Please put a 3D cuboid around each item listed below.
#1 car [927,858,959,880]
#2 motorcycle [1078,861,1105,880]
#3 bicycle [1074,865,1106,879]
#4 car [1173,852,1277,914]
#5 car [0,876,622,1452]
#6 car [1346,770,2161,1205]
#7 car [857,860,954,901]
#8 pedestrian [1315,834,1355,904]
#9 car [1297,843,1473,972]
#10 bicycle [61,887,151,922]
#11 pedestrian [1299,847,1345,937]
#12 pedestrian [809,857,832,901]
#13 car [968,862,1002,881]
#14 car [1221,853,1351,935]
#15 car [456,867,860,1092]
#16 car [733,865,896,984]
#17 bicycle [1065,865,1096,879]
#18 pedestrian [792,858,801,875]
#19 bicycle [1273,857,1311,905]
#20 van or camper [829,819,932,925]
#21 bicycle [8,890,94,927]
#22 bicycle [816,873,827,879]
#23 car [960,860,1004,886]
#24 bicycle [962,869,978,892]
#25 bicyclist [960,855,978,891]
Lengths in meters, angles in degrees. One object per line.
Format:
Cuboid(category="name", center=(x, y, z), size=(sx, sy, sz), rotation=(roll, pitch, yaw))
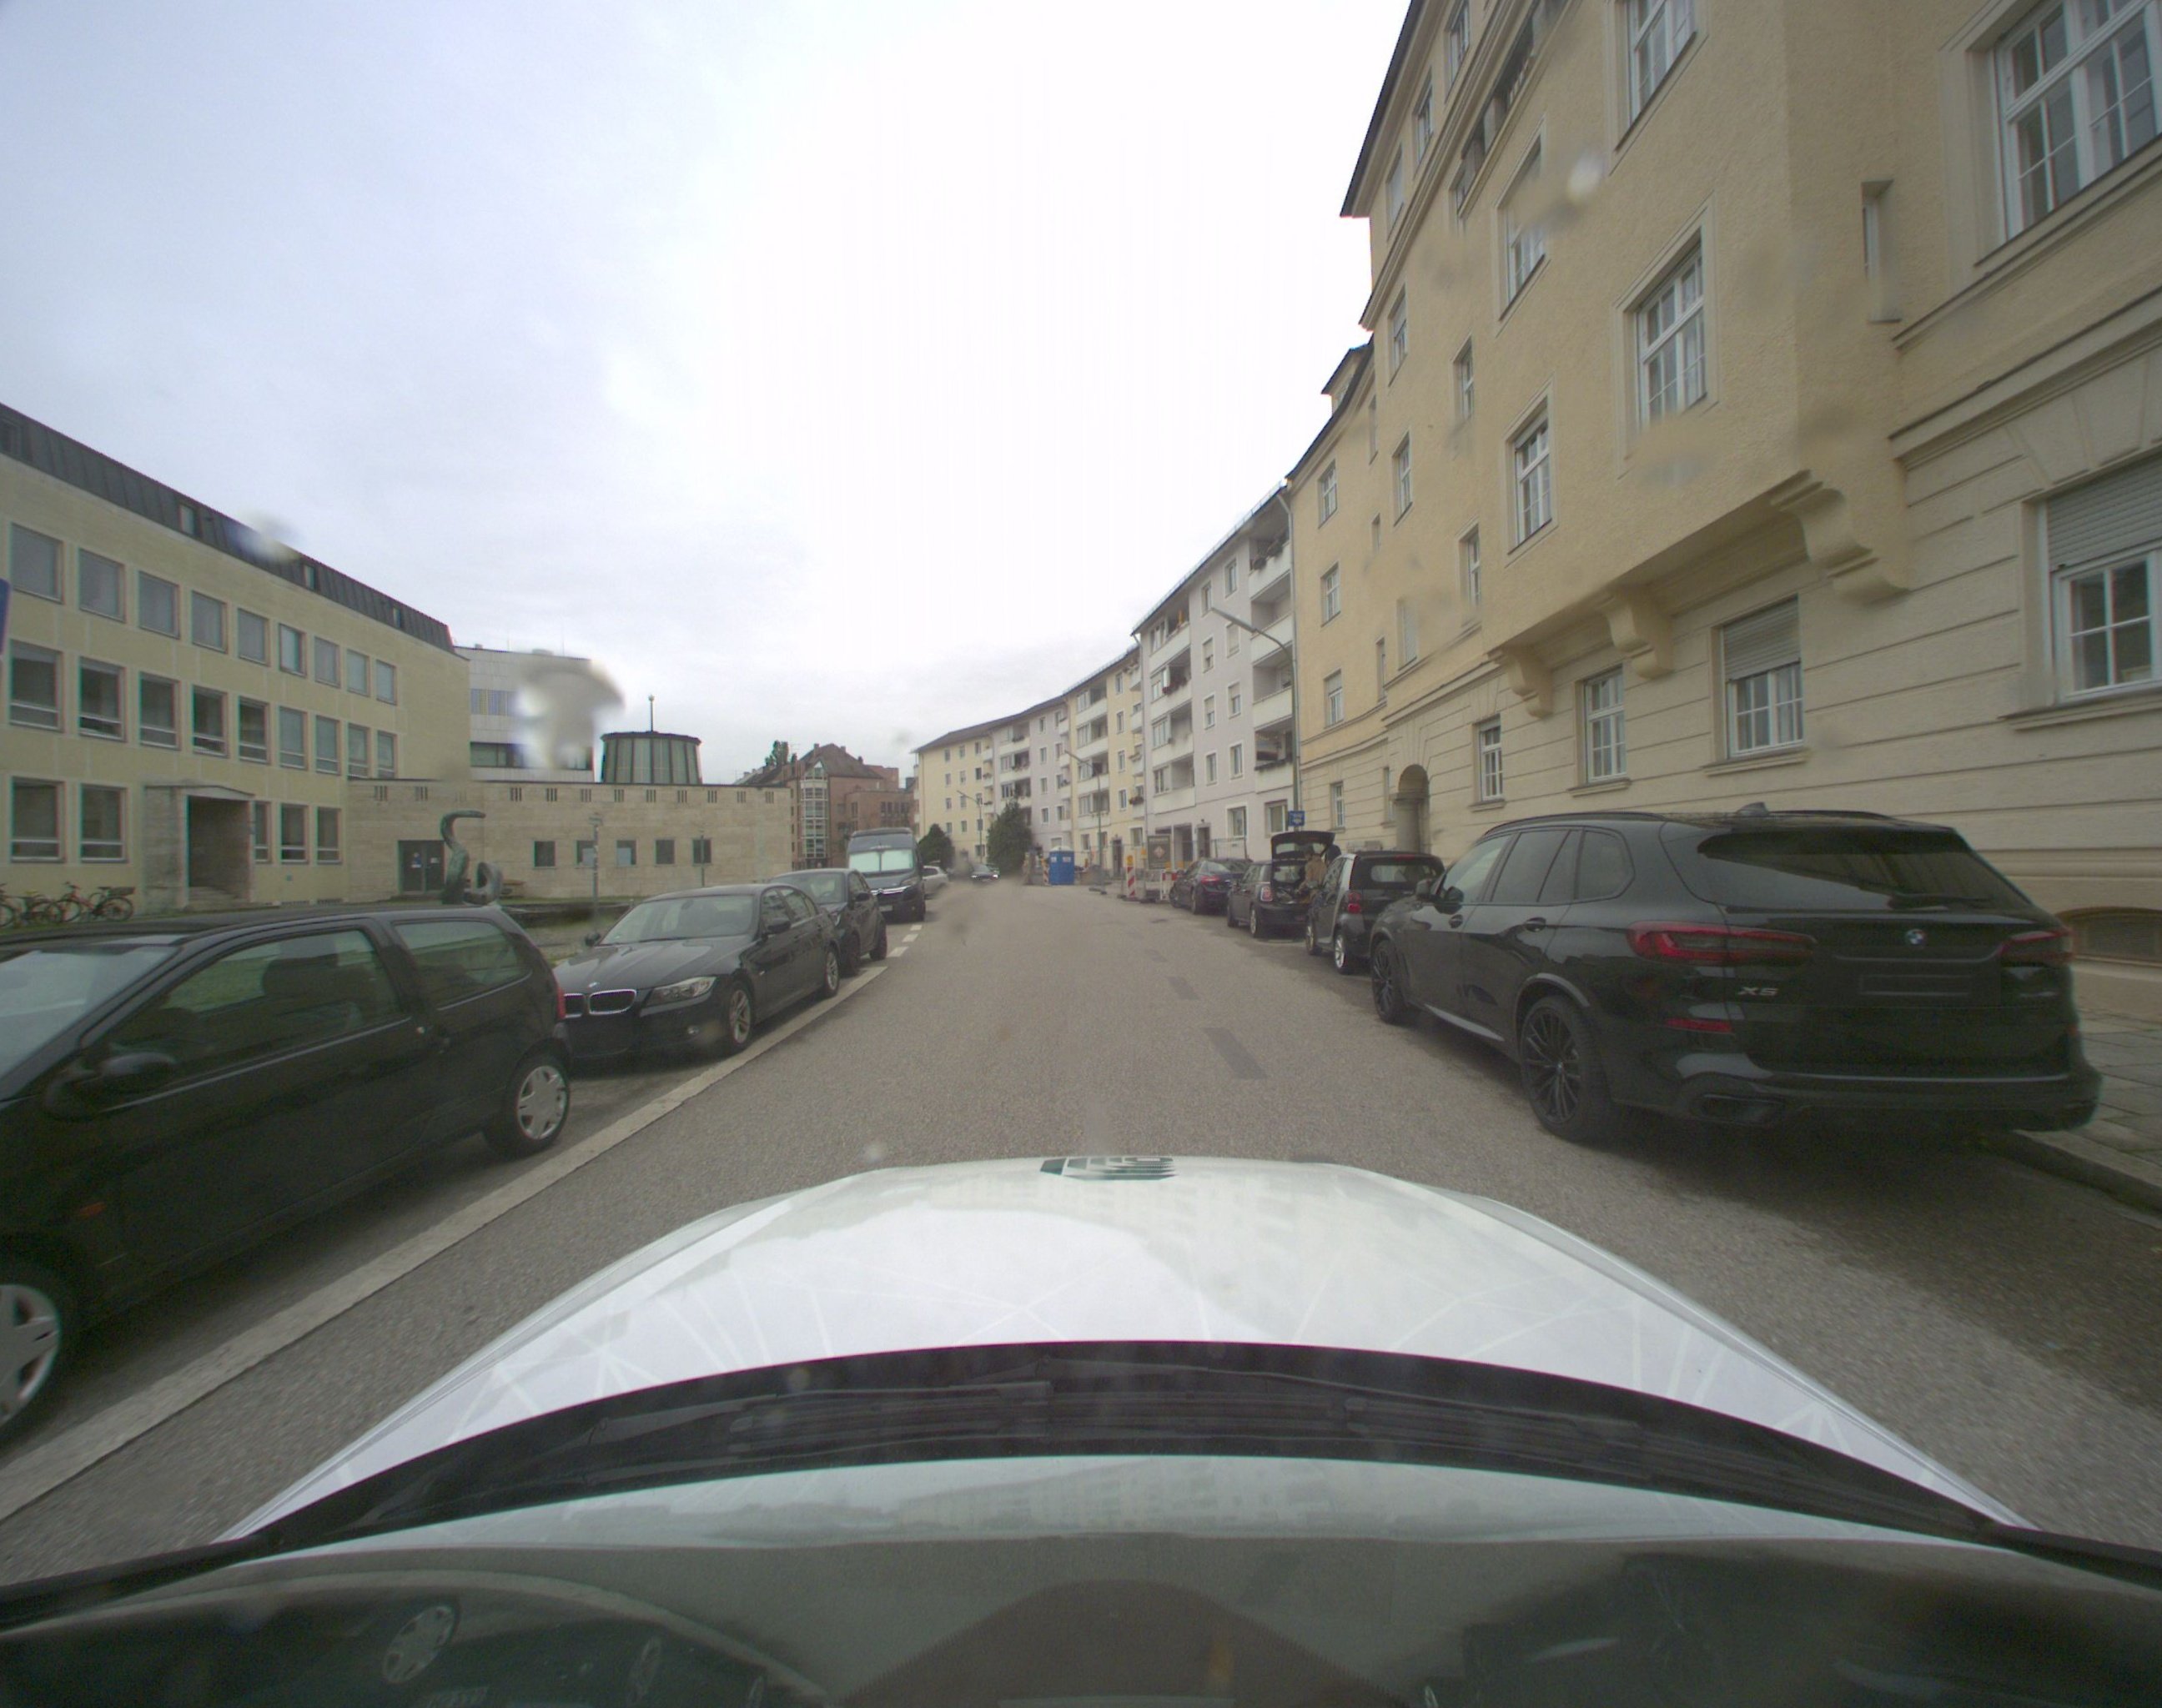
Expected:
Cuboid(category="car", center=(-13.082, 1.425, 76.943), size=(1.792, 1.976, 3.684), rotation=(-3, 0, -29))
Cuboid(category="motorcycle", center=(0.673, 1.095, 54.844), size=(0.935, 1.221, 2.489), rotation=(-1, -1, -21))
Cuboid(category="bicycle", center=(0.709, 1.382, 62.873), size=(2.241, 1.069, 0.913), rotation=(-1, -1, -22))
Cuboid(category="car", center=(3.810, 0.709, 22.396), size=(1.903, 1.477, 4.944), rotation=(-1, 0, -1))
Cuboid(category="car", center=(-3.790, 0.934, 3.384), size=(1.626, 1.494, 3.603), rotation=(-4, 0, 0))
Cuboid(category="car", center=(3.669, 0.539, 5.798), size=(2.161, 1.739, 5.028), rotation=(-1, 0, 3))
Cuboid(category="car", center=(-7.680, 1.163, 35.820), size=(1.693, 1.507, 3.833), rotation=(-4, 0, 43))
Cuboid(category="pedestrian", center=(6.385, 0.377, 20.513), size=(0.615, 1.690, 0.920), rotation=(-5, -1, 3))
Cuboid(category="car", center=(4.087, 0.652, 11.395), size=(1.507, 1.555, 3.022), rotation=(-1, 0, 4))
Cuboid(category="bicycle", center=(-27.882, 1.429, 23.310), size=(1.709, 0.945, 0.412), rotation=(0, -1, -14))
Cuboid(category="pedestrian", center=(4.206, 0.654, 14.255), size=(0.626, 1.528, 0.578), rotation=(-1, -1, 1))
Cuboid(category="pedestrian", center=(-11.286, 1.063, 35.336), size=(0.846, 1.866, 0.708), rotation=(-1, -1, -26))
Cuboid(category="car", center=(-8.166, 1.478, 68.993), size=(1.838, 1.574, 3.969), rotation=(-1, -1, -23))
Cuboid(category="car", center=(3.880, 0.698, 16.015), size=(1.625, 1.417, 3.679), rotation=(-1, 0, 0))
Cuboid(category="car", center=(-3.702, 0.953, 8.213), size=(1.769, 1.465, 4.463), rotation=(-4, 0, -2))
Cuboid(category="car", center=(-3.893, 0.961, 12.366), size=(1.515, 1.465, 2.884), rotation=(-4, 0, -2))
Cuboid(category="bicycle", center=(-0.046, 1.400, 64.204), size=(2.241, 1.069, 0.913), rotation=(-1, -1, -22))
Cuboid(category="pedestrian", center=(-27.607, 1.248, 78.902), size=(0.763, 1.630, 0.915), rotation=(0, 0, -16))
Cuboid(category="bicycle", center=(5.785, 0.721, 22.401), size=(0.634, 1.258, 1.671), rotation=(-1, -1, 2))
Cuboid(category="van or camper", center=(-5.514, 0.430, 23.227), size=(2.296, 2.581, 6.067), rotation=(-1, 0, -9))
Cuboid(category="bicycle", center=(-27.685, 1.469, 21.903), size=(1.473, 0.945, 0.412), rotation=(0, -1, -14))
Cuboid(category="bicycle", center=(-39.291, 3.317, 123.327), size=(1.110, 0.854, 1.707), rotation=(0, -1, -39))
Cuboid(category="car", center=(-6.088, 1.155, 49.529), size=(1.924, 1.412, 4.678), rotation=(-4, -1, -15))
Cuboid(category="bicycle", center=(-5.591, 1.293, 40.918), size=(0.586, 1.069, 1.929), rotation=(-4, 0, -11))
Cuboid(category="bicyclist", center=(-5.620, 0.954, 40.939), size=(0.745, 1.771, 0.812), rotation=(-4, 0, -11))
